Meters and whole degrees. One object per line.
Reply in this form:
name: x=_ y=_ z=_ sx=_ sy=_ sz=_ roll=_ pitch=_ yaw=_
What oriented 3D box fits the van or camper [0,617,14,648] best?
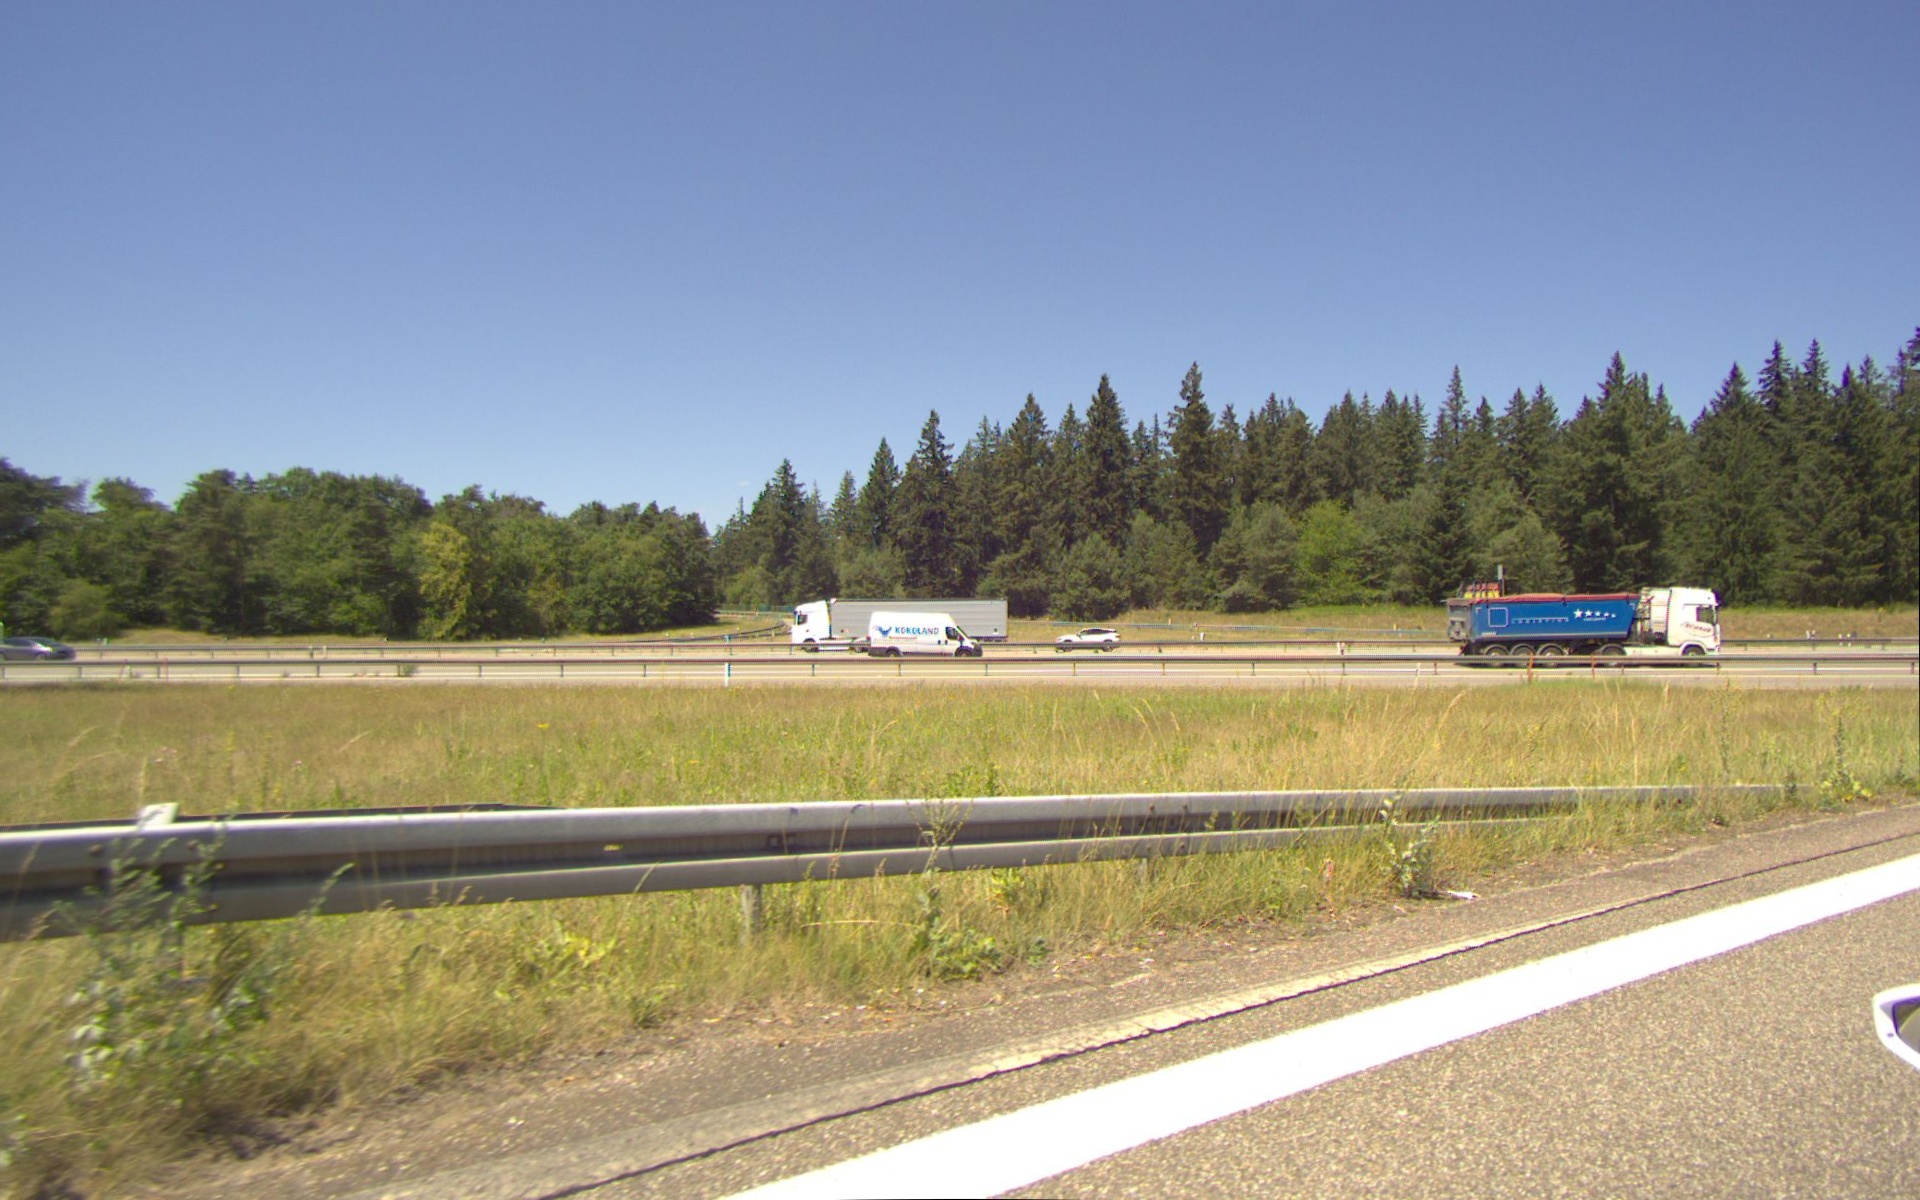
van or camper: x=-77.017 y=2.525 z=77.533 sx=5.712 sy=2.407 sz=2.250 roll=0 pitch=-2 yaw=0

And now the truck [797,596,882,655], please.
truck: x=-9.275 y=1.986 z=77.830 sx=6.145 sy=4.450 sz=2.950 roll=0 pitch=-2 yaw=4

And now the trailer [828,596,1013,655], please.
trailer: x=-2.965 y=2.014 z=77.389 sx=14.009 sy=4.444 sz=2.936 roll=0 pitch=-2 yaw=4

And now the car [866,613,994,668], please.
car: x=-1.632 y=2.208 z=56.054 sx=6.912 sy=2.870 sz=2.247 roll=1 pitch=0 yaw=4

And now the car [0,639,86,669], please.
car: x=-58.071 y=3.404 z=63.230 sx=4.728 sy=1.706 sz=1.778 roll=1 pitch=0 yaw=3

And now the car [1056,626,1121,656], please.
car: x=8.788 y=2.805 z=68.849 sx=4.270 sy=1.873 sz=2.001 roll=-2 pitch=-1 yaw=4

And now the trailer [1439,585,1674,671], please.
trailer: x=29.091 y=1.349 z=49.323 sx=9.687 sy=3.858 sz=2.781 roll=-1 pitch=0 yaw=3

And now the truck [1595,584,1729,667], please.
truck: x=34.220 y=1.217 z=49.099 sx=4.529 sy=3.858 sz=2.766 roll=-2 pitch=0 yaw=3
